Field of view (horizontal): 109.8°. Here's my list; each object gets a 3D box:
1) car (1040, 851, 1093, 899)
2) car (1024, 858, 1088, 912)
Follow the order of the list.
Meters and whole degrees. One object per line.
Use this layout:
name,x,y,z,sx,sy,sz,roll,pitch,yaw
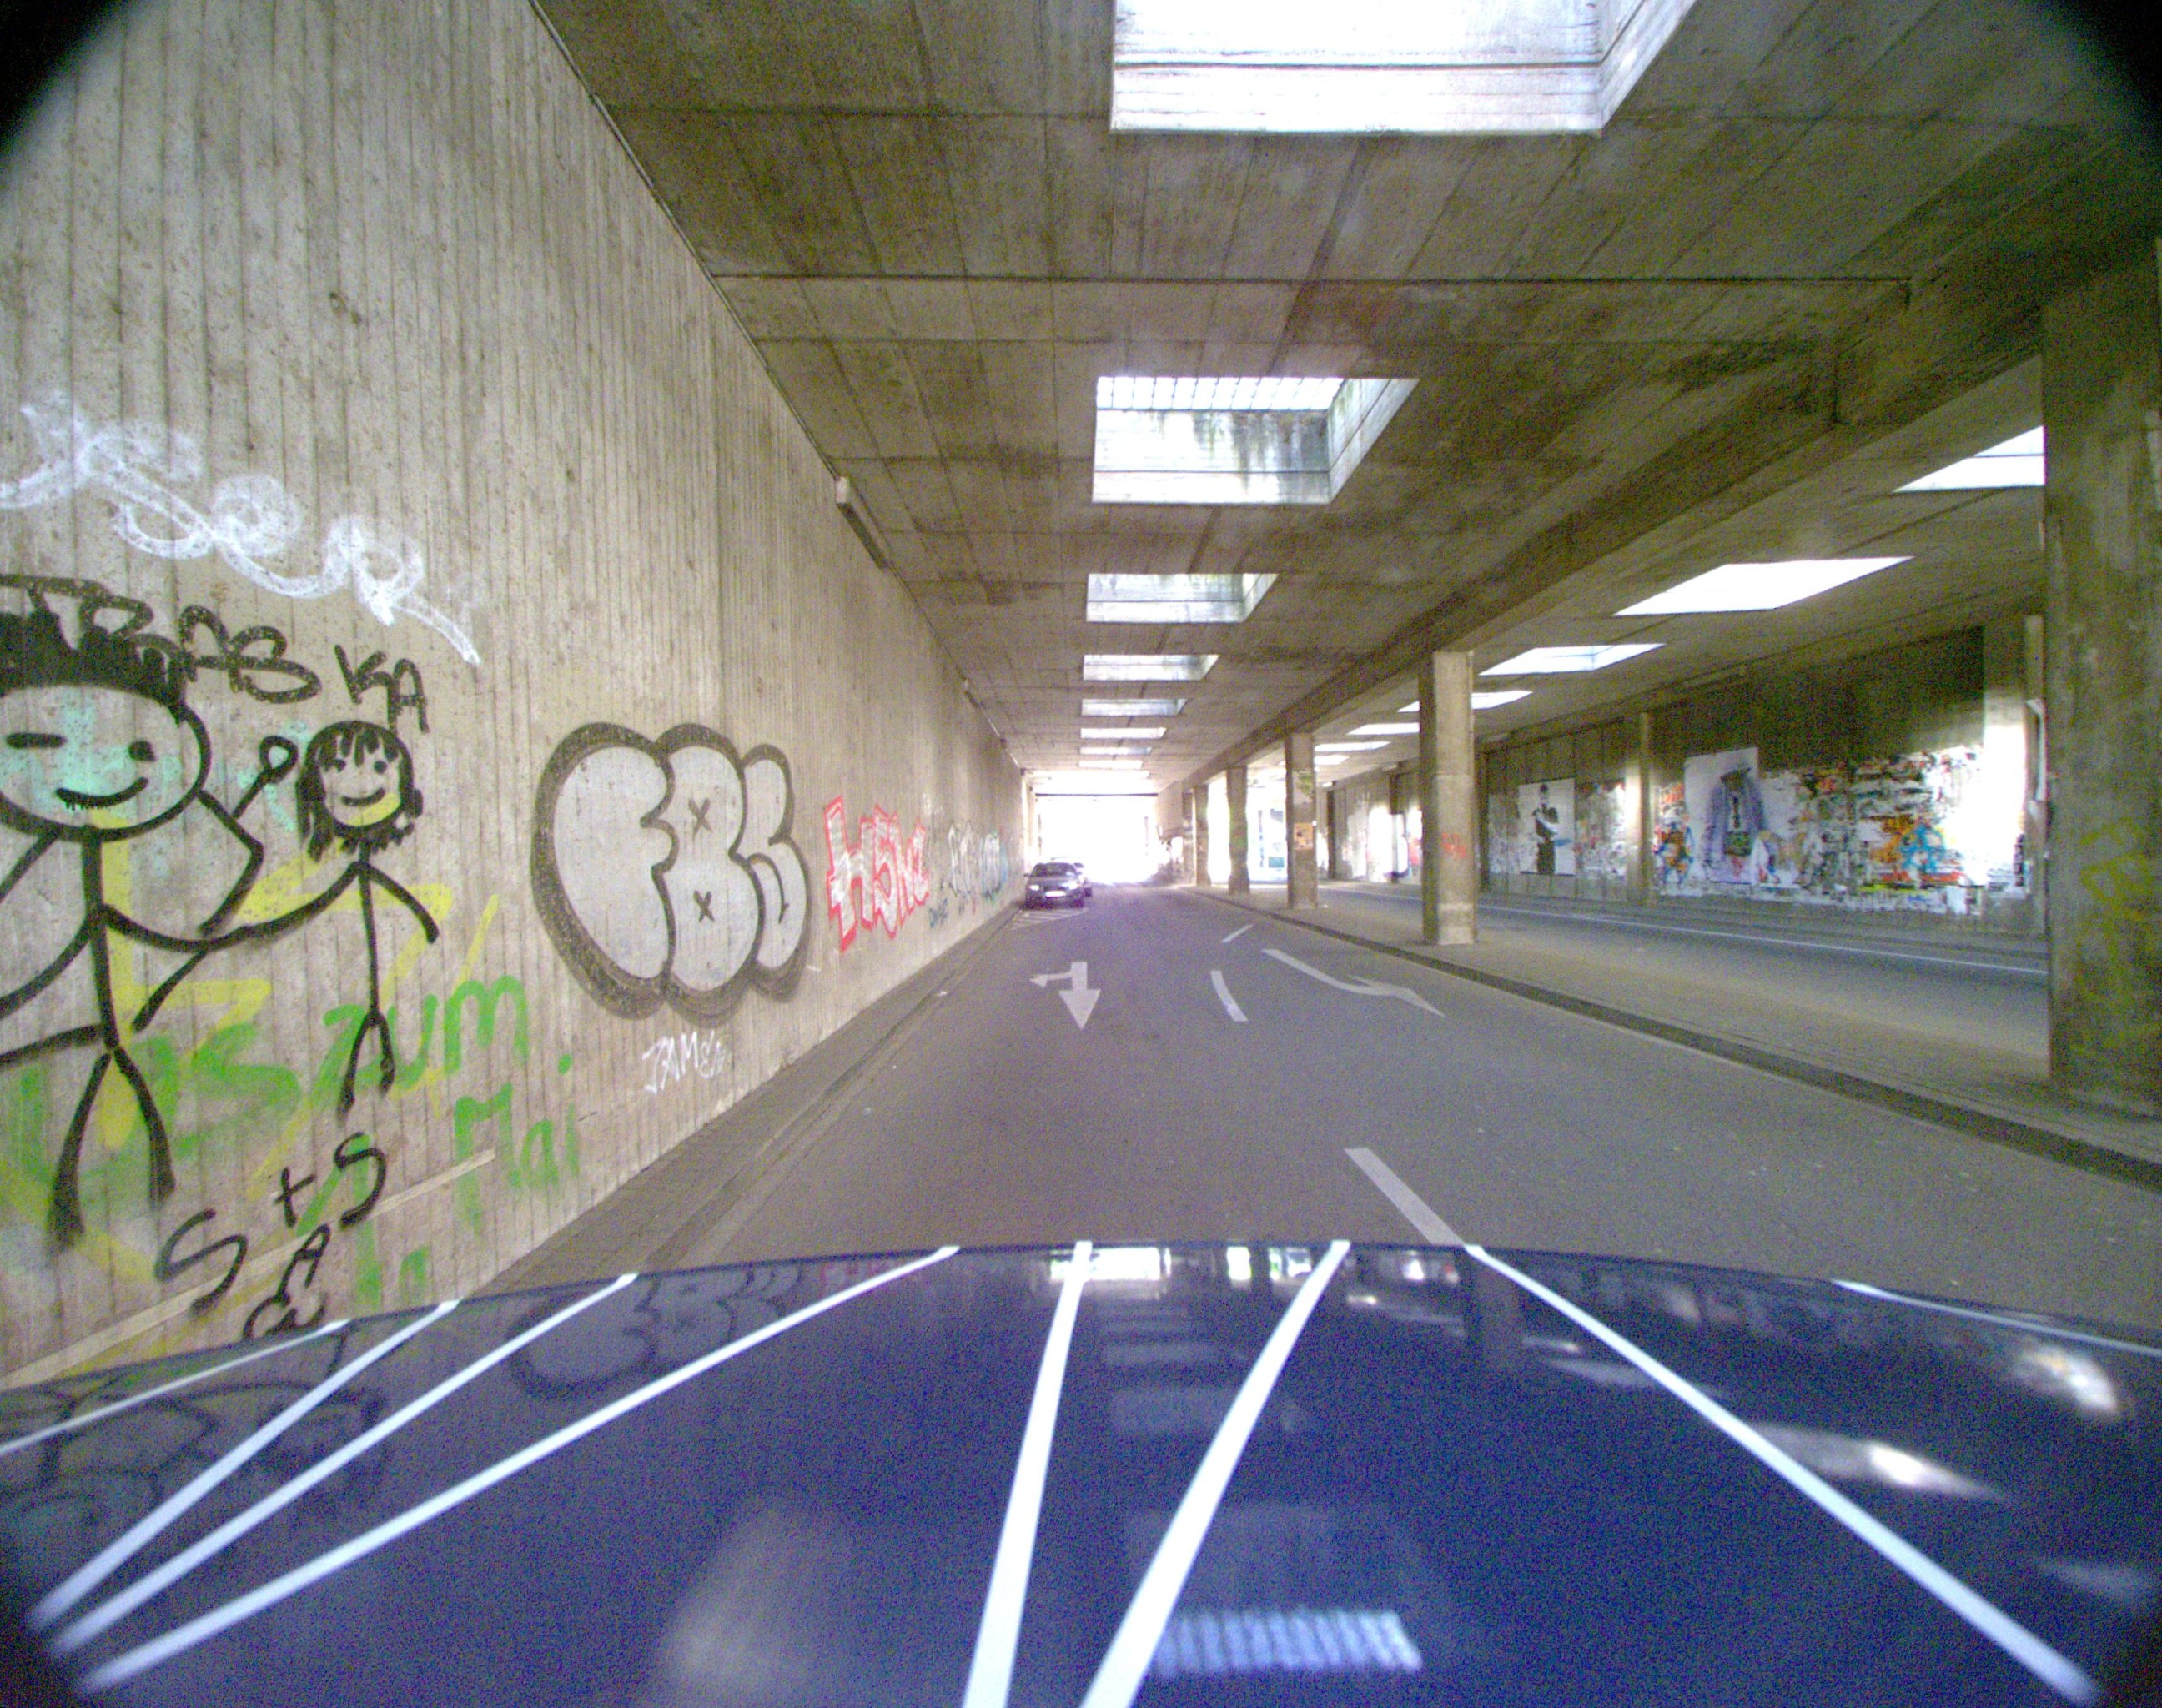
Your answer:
car,-0.504,0.762,29.729,1.861,1.709,4.000,-2,0,1
car,-0.708,0.905,24.056,1.808,1.460,4.000,-2,0,1
